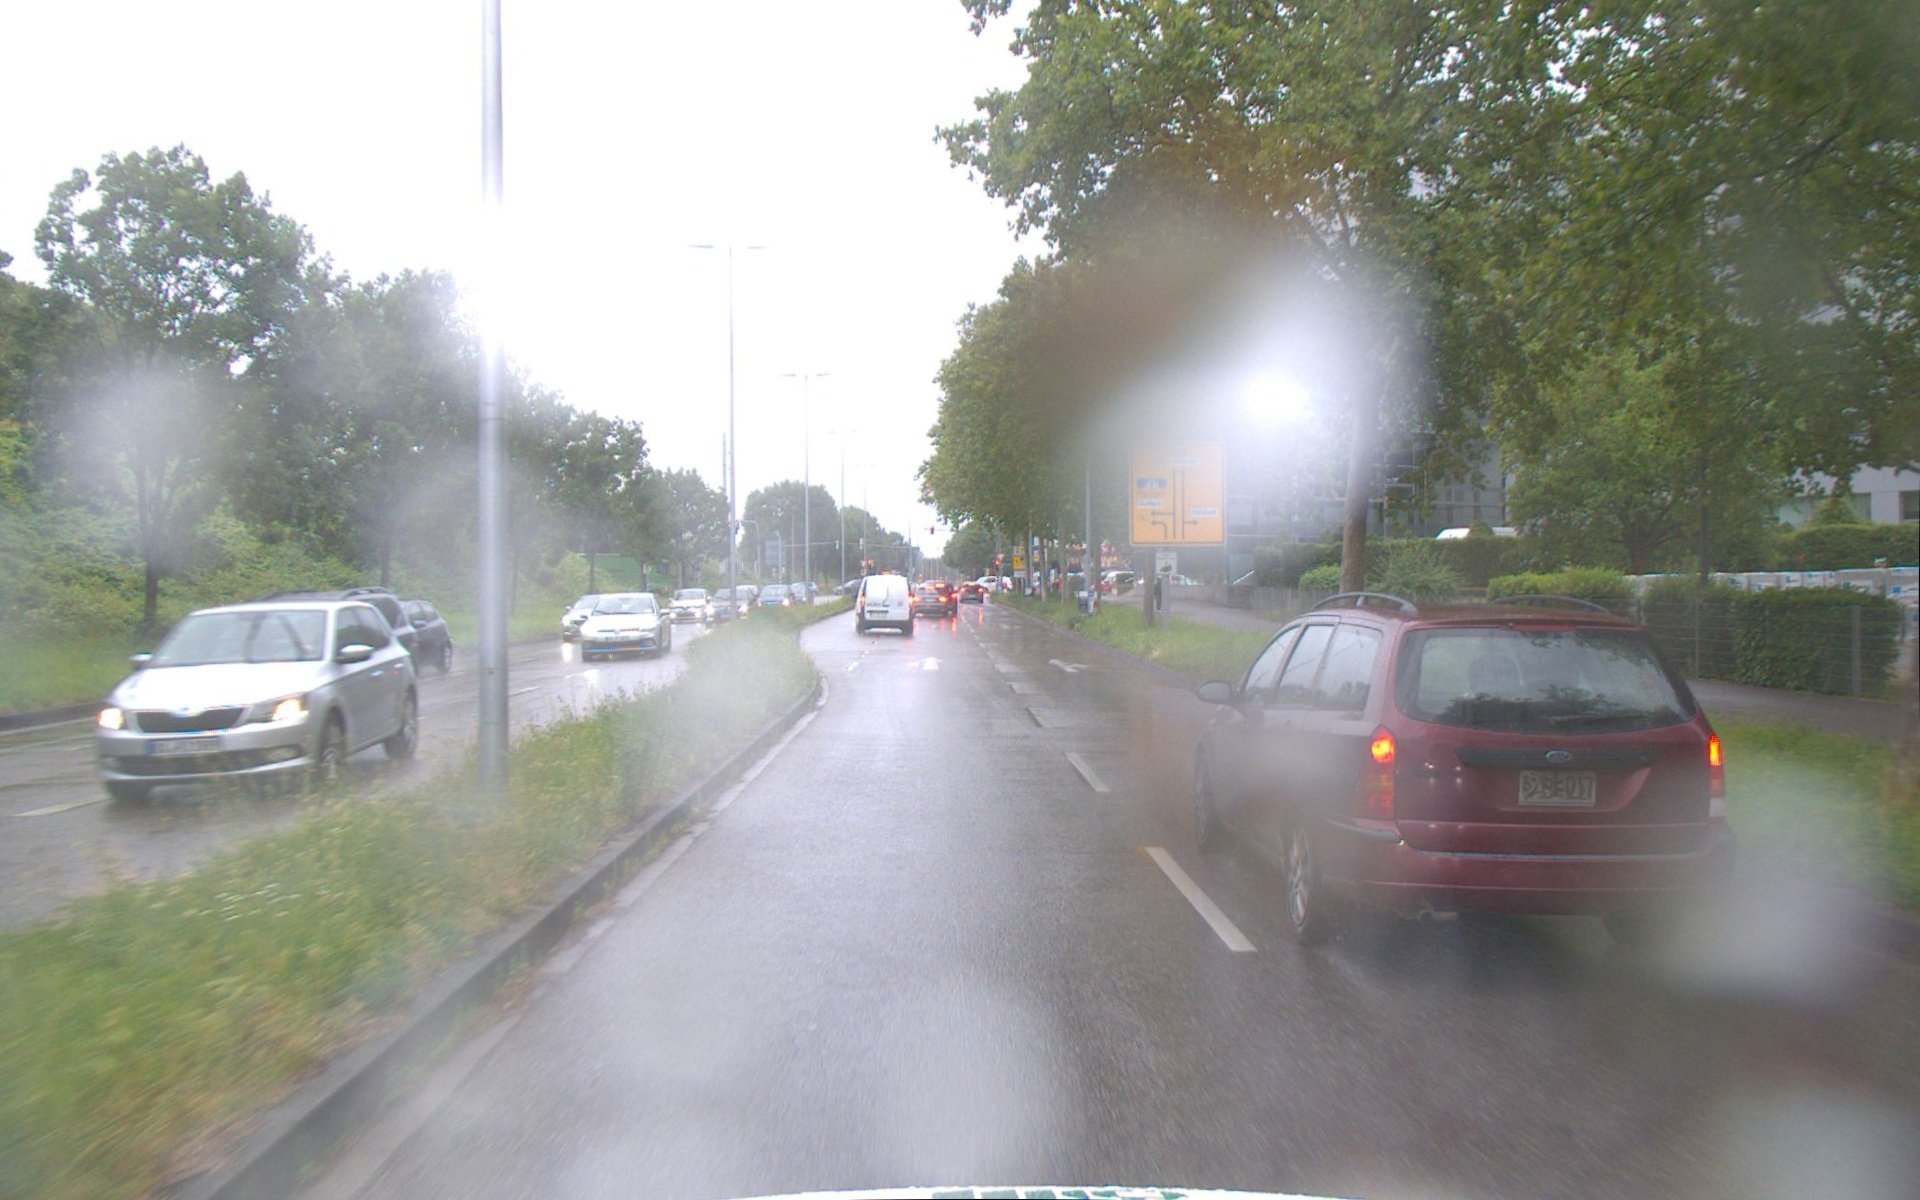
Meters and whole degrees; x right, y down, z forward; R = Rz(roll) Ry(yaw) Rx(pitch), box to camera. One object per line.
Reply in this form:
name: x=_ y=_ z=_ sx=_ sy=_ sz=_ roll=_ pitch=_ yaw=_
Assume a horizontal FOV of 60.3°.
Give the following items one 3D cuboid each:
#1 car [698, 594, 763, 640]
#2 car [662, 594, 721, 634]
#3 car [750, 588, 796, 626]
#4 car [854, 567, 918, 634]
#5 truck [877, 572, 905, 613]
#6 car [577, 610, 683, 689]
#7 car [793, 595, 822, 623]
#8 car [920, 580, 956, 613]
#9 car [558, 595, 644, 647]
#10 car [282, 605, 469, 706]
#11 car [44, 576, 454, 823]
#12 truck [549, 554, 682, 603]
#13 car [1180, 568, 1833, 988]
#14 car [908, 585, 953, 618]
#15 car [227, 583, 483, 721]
car: x=-8.891 y=0.615 z=64.406 sx=1.870 sy=1.601 sz=4.708 roll=-3 pitch=0 yaw=-1
car: x=-11.998 y=0.611 z=74.167 sx=1.870 sy=1.601 sz=4.708 roll=-3 pitch=0 yaw=-1
car: x=-9.160 y=0.298 z=81.315 sx=1.787 sy=1.602 sz=4.360 roll=2 pitch=3 yaw=-1
car: x=-2.358 y=0.056 z=52.853 sx=1.953 sy=2.049 sz=3.998 roll=1 pitch=-1 yaw=-2
truck: x=-4.350 y=-0.445 z=104.537 sx=1.721 sy=2.509 sz=3.998 roll=1 pitch=0 yaw=-2
car: x=-7.513 y=1.081 z=38.061 sx=1.872 sy=1.601 sz=4.703 roll=-2 pitch=0 yaw=-6
car: x=-9.119 y=0.521 z=98.570 sx=1.687 sy=1.646 sz=4.341 roll=0 pitch=0 yaw=-6
car: x=-1.121 y=-0.202 z=82.602 sx=1.674 sy=1.577 sz=3.998 roll=0 pitch=1 yaw=-3
car: x=-11.440 y=0.649 z=52.937 sx=1.798 sy=1.528 sz=4.439 roll=-2 pitch=0 yaw=-1
car: x=-11.156 y=0.998 z=31.942 sx=1.953 sy=1.717 sz=4.708 roll=-2 pitch=0 yaw=-1
car: x=-5.663 y=0.706 z=13.785 sx=1.861 sy=1.641 sz=4.107 roll=-3 pitch=0 yaw=-5
truck: x=-26.851 y=-1.609 z=129.377 sx=10.037 sy=3.512 sz=2.622 roll=2 pitch=-2 yaw=-38
car: x=2.350 y=0.682 z=8.306 sx=1.802 sy=1.563 sz=4.110 roll=1 pitch=0 yaw=-2
car: x=-1.389 y=0.057 z=76.412 sx=1.953 sy=1.477 sz=3.998 roll=1 pitch=0 yaw=-3
car: x=-8.553 y=0.665 z=23.892 sx=1.953 sy=1.717 sz=4.708 roll=-2 pitch=0 yaw=-1
